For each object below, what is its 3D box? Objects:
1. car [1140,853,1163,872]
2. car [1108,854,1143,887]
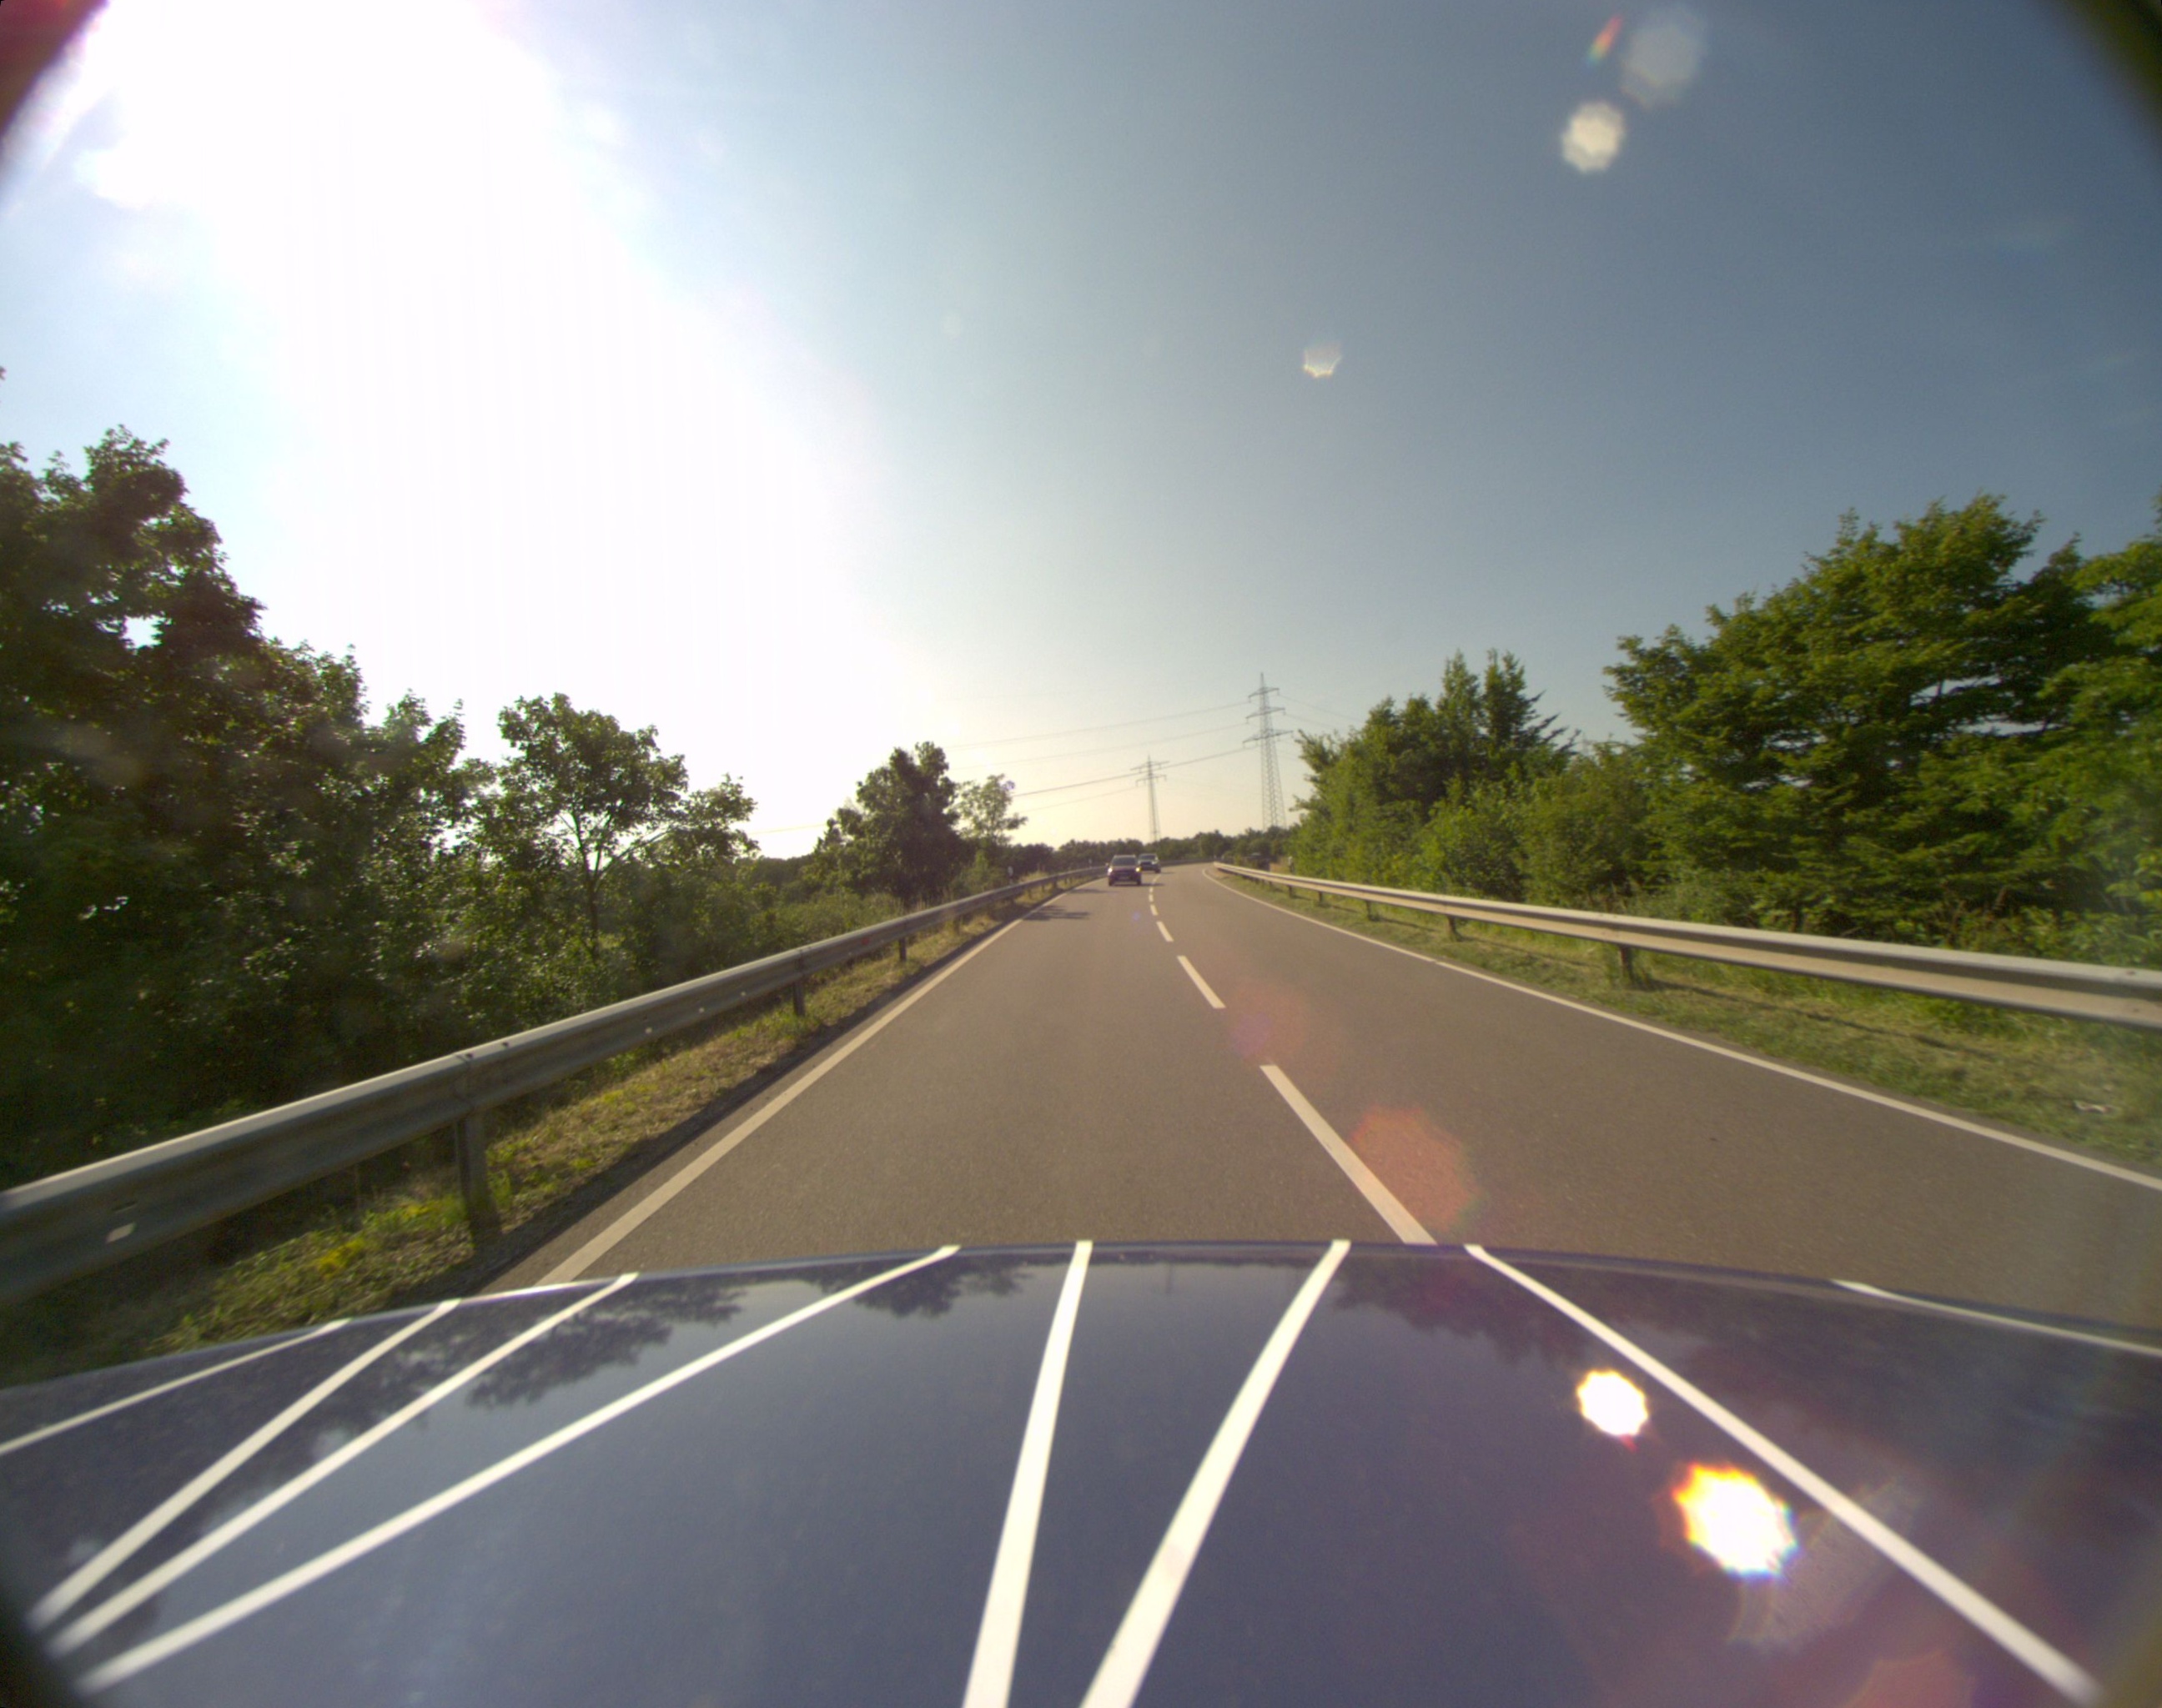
[{"bbox_3d":[6.081,0.711,65.147,1.605,1.486,4.002,-3,1,10],"label":"car"},{"bbox_3d":[2.310,0.793,38.992,1.606,1.486,4.001,-3,1,4],"label":"car"}]
